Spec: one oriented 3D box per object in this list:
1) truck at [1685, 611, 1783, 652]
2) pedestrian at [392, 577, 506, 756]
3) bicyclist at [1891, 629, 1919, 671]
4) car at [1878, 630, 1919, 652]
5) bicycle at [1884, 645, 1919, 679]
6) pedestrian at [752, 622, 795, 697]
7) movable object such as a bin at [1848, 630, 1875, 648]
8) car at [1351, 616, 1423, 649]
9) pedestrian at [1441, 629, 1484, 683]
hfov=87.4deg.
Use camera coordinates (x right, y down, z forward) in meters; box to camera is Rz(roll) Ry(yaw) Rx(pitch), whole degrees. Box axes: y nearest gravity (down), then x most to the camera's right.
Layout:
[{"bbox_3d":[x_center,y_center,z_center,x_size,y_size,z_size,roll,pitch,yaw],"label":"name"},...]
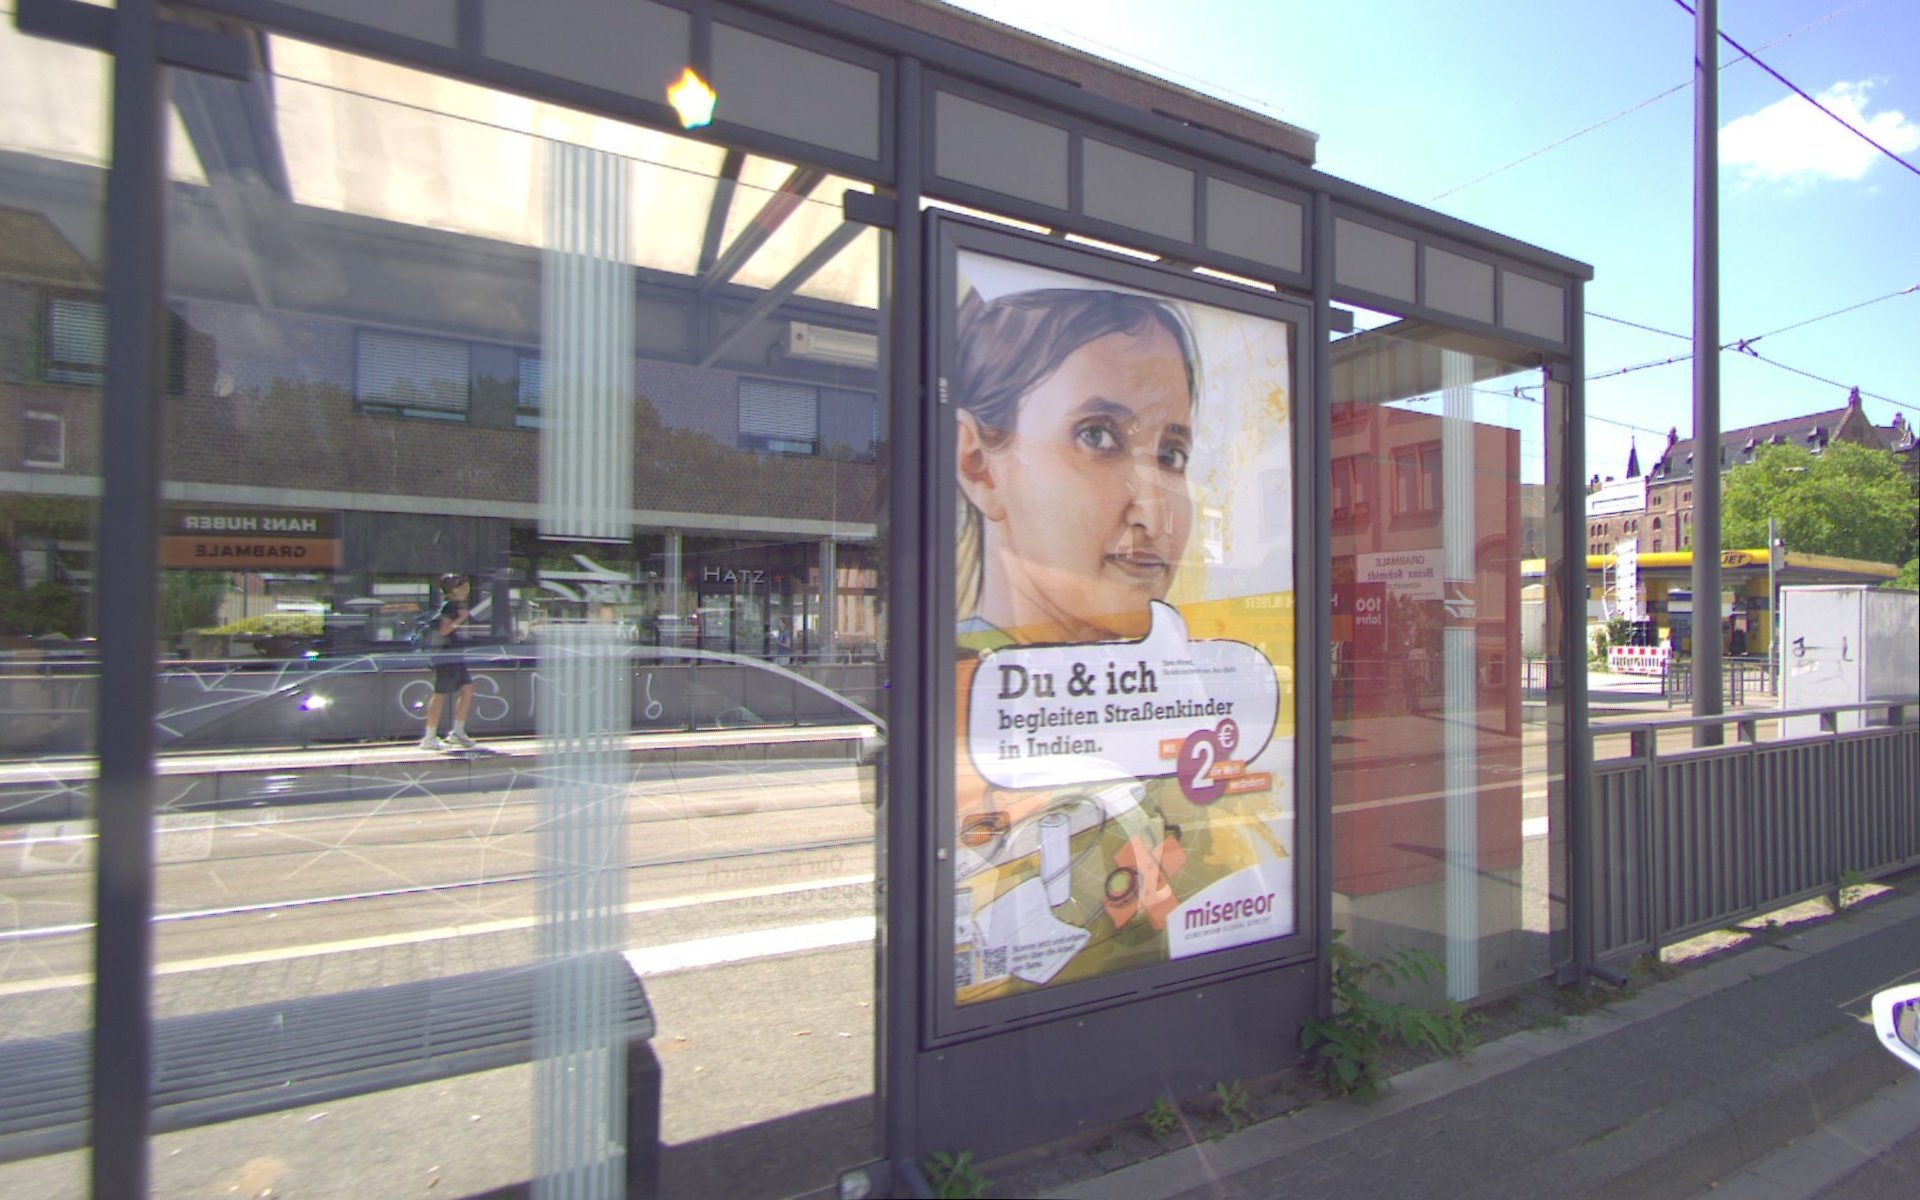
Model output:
[{"bbox_3d":[50.437,2.036,65.516,5.105,2.531,1.998,1,-1,-6],"label":"truck"},{"bbox_3d":[-5.387,0.684,10.590,1.021,1.783,0.682,1,-2,-30],"label":"pedestrian"},{"bbox_3d":[35.837,1.879,37.967,1.055,1.524,0.753,1,-1,-35],"label":"bicyclist"},{"bbox_3d":[70.786,3.013,73.985,4.245,1.611,2.001,0,-1,8],"label":"car"},{"bbox_3d":[35.822,2.328,37.907,2.363,1.238,0.812,1,-2,-33],"label":"bicycle"},{"bbox_3d":[-4.109,1.289,22.100,0.752,1.617,0.682,1,-2,-30],"label":"pedestrian"},{"bbox_3d":[68.716,2.991,76.597,0.748,1.372,1.341,1,-1,-24],"label":"movable object such as a bin"},{"bbox_3d":[26.422,2.000,62.296,1.863,1.963,4.240,1,-2,-17],"label":"car"},{"bbox_3d":[15.685,1.737,31.352,0.989,1.617,0.755,1,2,-34],"label":"pedestrian"}]
